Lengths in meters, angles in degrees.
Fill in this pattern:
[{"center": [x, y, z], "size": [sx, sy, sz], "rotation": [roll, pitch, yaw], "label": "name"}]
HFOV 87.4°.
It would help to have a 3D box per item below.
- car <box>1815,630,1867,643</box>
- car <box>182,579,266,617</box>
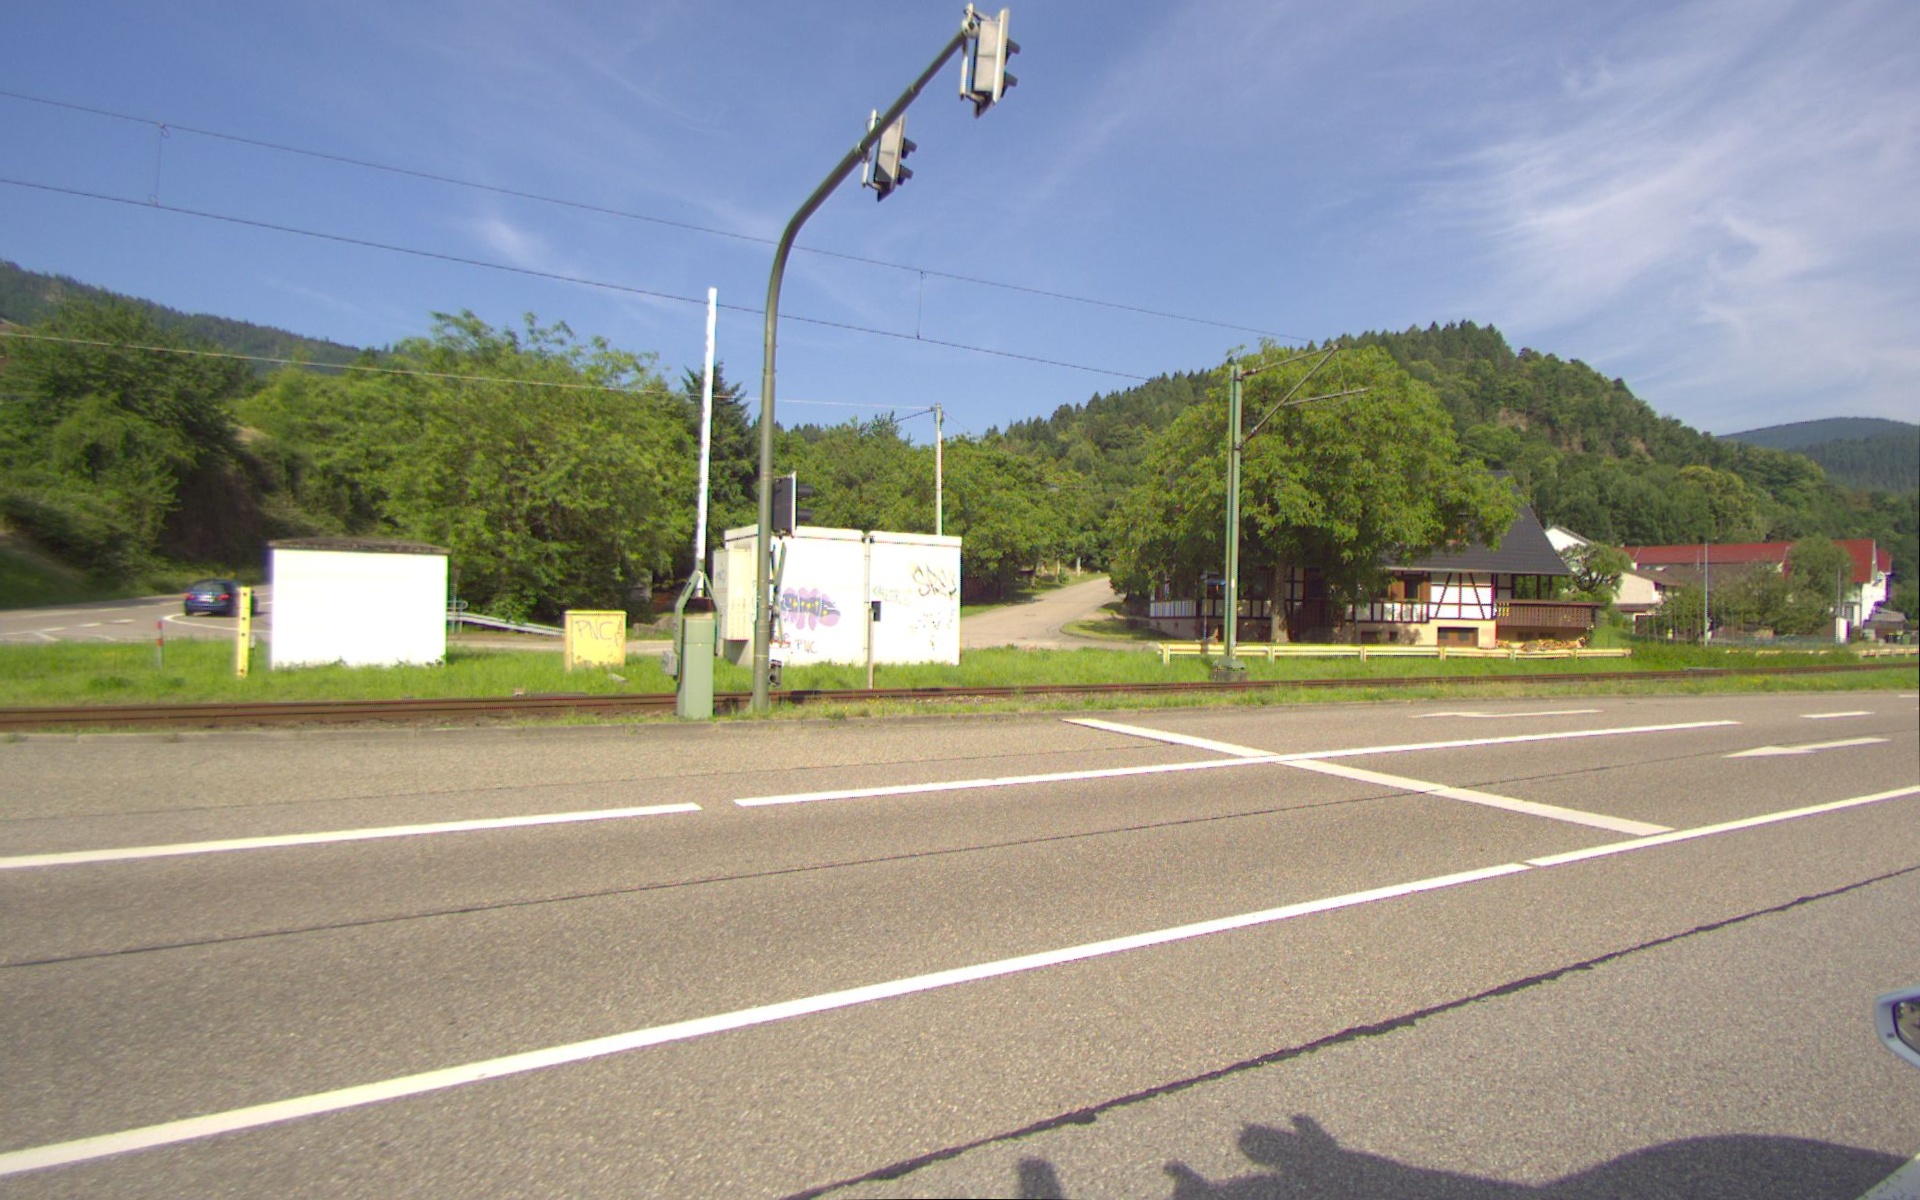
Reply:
[{"center": [95.811, 3.972, 109.295], "size": [1.723, 1.287, 4.058], "rotation": [2, -1, -41], "label": "car"}, {"center": [-32.771, -0.059, 44.848], "size": [1.920, 1.550, 3.982], "rotation": [1, -1, -20], "label": "car"}]
